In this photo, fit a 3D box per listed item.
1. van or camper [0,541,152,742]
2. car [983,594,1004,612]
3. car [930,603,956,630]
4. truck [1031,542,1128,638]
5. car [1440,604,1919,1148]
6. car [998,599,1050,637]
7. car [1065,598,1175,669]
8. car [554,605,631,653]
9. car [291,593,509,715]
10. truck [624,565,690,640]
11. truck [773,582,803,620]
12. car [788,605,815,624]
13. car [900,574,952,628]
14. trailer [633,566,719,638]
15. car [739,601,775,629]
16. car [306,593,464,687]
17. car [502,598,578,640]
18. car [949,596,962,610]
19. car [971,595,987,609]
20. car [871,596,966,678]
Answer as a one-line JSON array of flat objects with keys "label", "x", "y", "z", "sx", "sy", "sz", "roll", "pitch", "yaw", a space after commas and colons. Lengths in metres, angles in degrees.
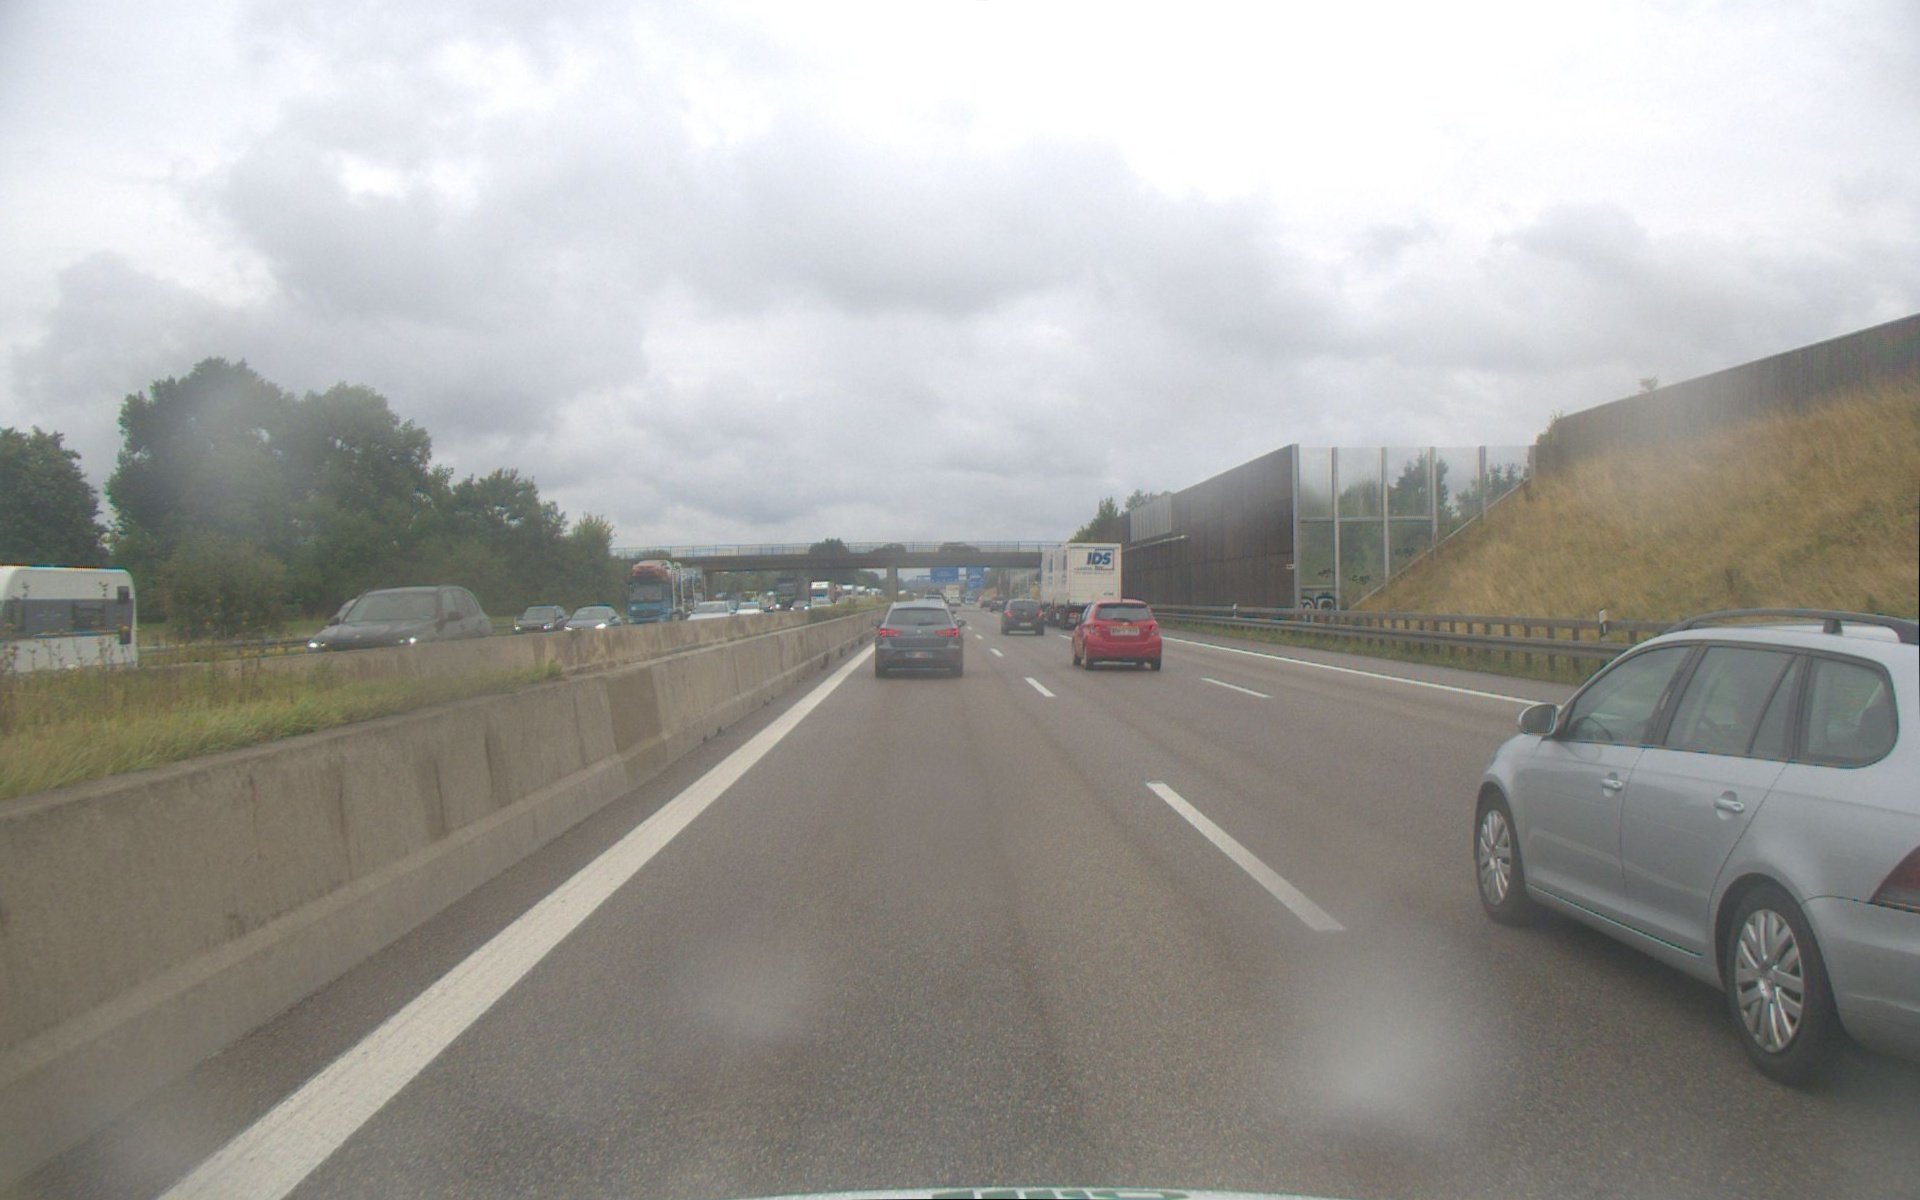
[{"label": "van or camper", "x": -18.459, "y": 0.724, "z": 31.470, "sx": 2.654, "sy": 3.564, "sz": 7.695, "roll": 1, "pitch": 0, "yaw": -3}, {"label": "car", "x": 3.388, "y": 0.314, "z": 167.735, "sx": 1.808, "sy": 1.716, "sz": 3.998, "roll": 1, "pitch": 0, "yaw": -2}, {"label": "car", "x": -1.251, "y": 1.154, "z": 119.399, "sx": 1.670, "sy": 1.828, "sz": 3.853, "roll": -2, "pitch": 0, "yaw": -3}, {"label": "truck", "x": 5.918, "y": -0.394, "z": 85.941, "sx": 3.217, "sy": 4.370, "sz": 19.027, "roll": 1, "pitch": 0, "yaw": -1}, {"label": "car", "x": 3.418, "y": 0.756, "z": 6.421, "sx": 1.706, "sy": 1.450, "sz": 4.515, "roll": -1, "pitch": 0, "yaw": -1}, {"label": "car", "x": 2.648, "y": 0.733, "z": 69.381, "sx": 1.882, "sy": 1.548, "sz": 4.621, "roll": 0, "pitch": 0, "yaw": -1}, {"label": "car", "x": 3.496, "y": 0.697, "z": 36.968, "sx": 1.853, "sy": 1.472, "sz": 4.683, "roll": 0, "pitch": 0, "yaw": -2}, {"label": "car", "x": -14.142, "y": 1.086, "z": 63.858, "sx": 2.019, "sy": 1.740, "sz": 4.798, "roll": 0, "pitch": 0, "yaw": -1}, {"label": "car", "x": -9.140, "y": 0.800, "z": 27.511, "sx": 1.953, "sy": 1.795, "sz": 5.070, "roll": -1, "pitch": 0, "yaw": -1}, {"label": "truck", "x": -18.164, "y": 0.142, "z": 99.436, "sx": 2.897, "sy": 4.316, "sz": 6.233, "roll": 1, "pitch": -1, "yaw": -1}, {"label": "truck", "x": -19.240, "y": 0.163, "z": 185.327, "sx": 2.701, "sy": 4.121, "sz": 6.253, "roll": 1, "pitch": -1, "yaw": -1}, {"label": "car", "x": -15.157, "y": 1.398, "z": 158.353, "sx": 2.050, "sy": 1.740, "sz": 4.800, "roll": 0, "pitch": 0, "yaw": 0}, {"label": "car", "x": -1.242, "y": 0.024, "z": 60.243, "sx": 1.789, "sy": 1.882, "sz": 3.999, "roll": -1, "pitch": 0, "yaw": -1}, {"label": "trailer", "x": -18.263, "y": 0.166, "z": 107.542, "sx": 2.937, "sy": 4.316, "sz": 15.704, "roll": 1, "pitch": 0, "yaw": -1}, {"label": "car", "x": -14.062, "y": 1.033, "z": 114.667, "sx": 1.953, "sy": 1.912, "sz": 5.031, "roll": 1, "pitch": 0, "yaw": -1}, {"label": "car", "x": -13.026, "y": 0.851, "z": 37.820, "sx": 1.845, "sy": 1.958, "sz": 5.276, "roll": -1, "pitch": 0, "yaw": -1}, {"label": "car", "x": -18.155, "y": 0.793, "z": 71.701, "sx": 2.050, "sy": 1.740, "sz": 4.800, "roll": 0, "pitch": 0, "yaw": 0}, {"label": "car", "x": -0.668, "y": 0.488, "z": 241.735, "sx": 1.953, "sy": 2.049, "sz": 4.240, "roll": 1, "pitch": 0, "yaw": -1}, {"label": "car", "x": 2.552, "y": 0.254, "z": 225.030, "sx": 1.953, "sy": 1.843, "sz": 4.227, "roll": -2, "pitch": 0, "yaw": -1}, {"label": "car", "x": -0.814, "y": 0.694, "z": 32.645, "sx": 1.733, "sy": 1.493, "sz": 3.999, "roll": 1, "pitch": 0, "yaw": -2}]
